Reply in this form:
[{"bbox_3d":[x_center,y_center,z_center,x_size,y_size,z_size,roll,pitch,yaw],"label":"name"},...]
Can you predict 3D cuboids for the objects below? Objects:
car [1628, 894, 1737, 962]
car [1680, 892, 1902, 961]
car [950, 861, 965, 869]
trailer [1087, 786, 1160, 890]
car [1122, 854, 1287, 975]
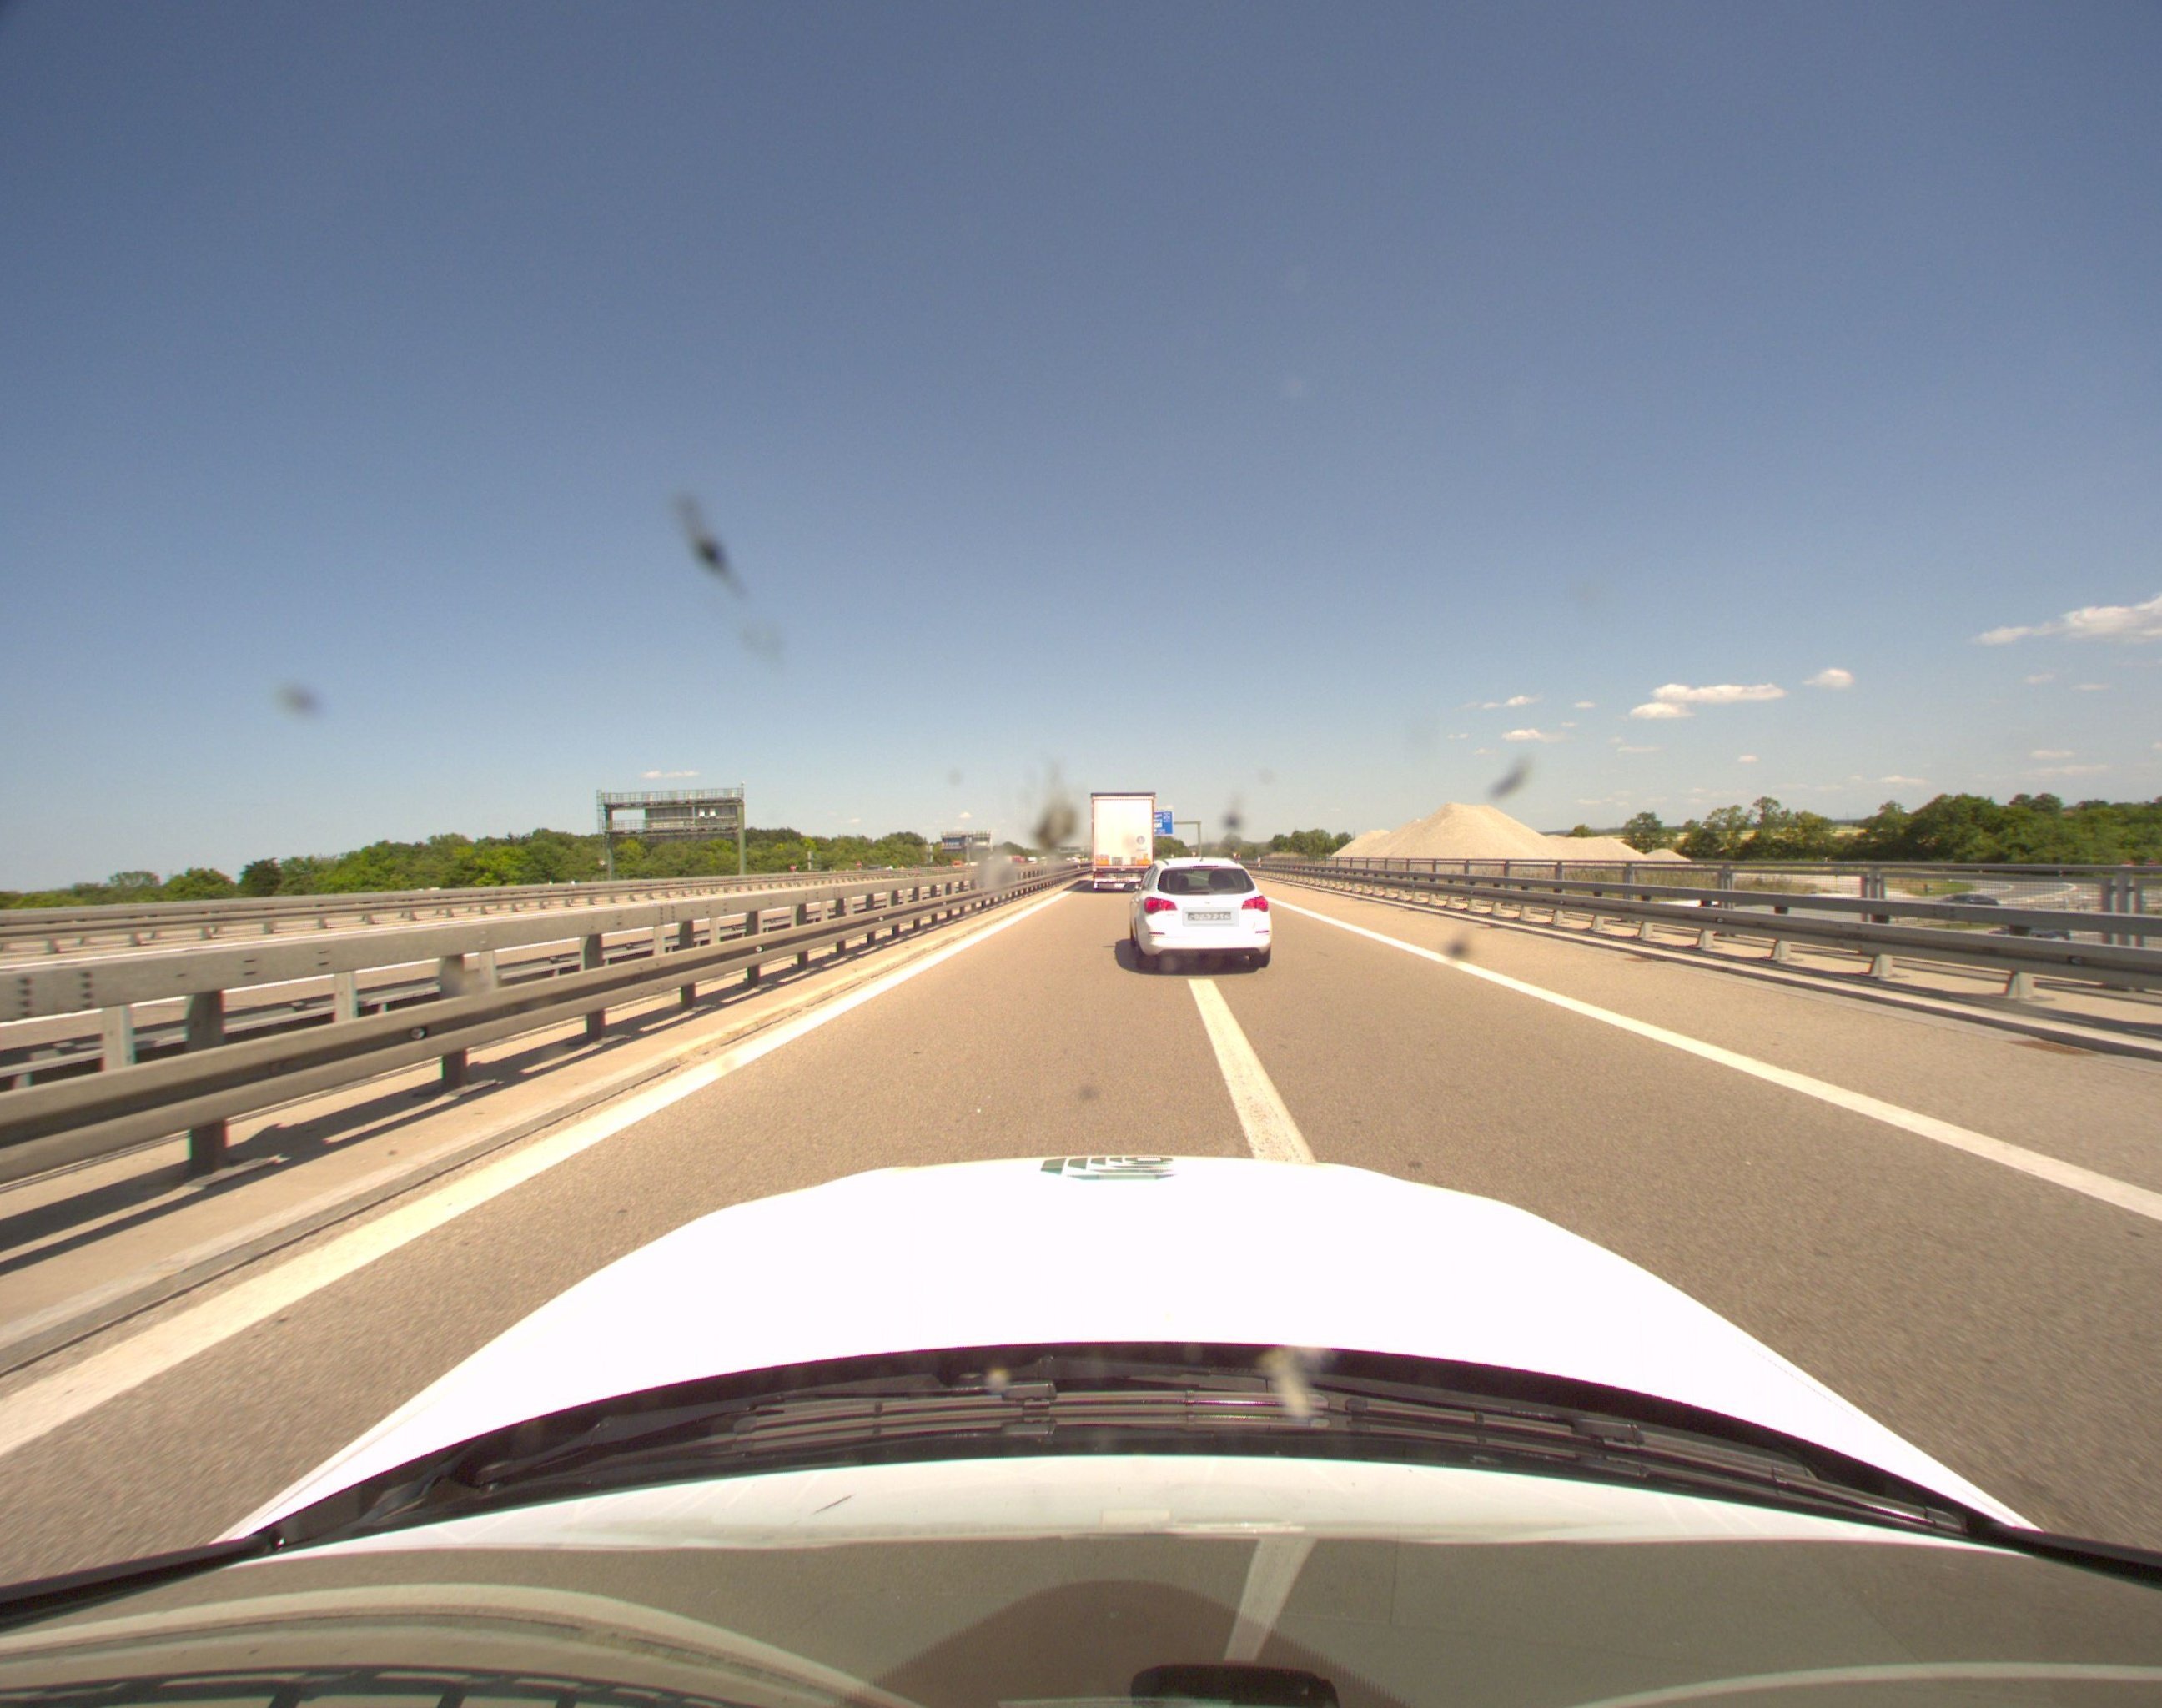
[{"bbox_3d":[37.307,4.515,50.599,5.136,3.964,2.478,0,-1,-6],"label":"car"},{"bbox_3d":[44.778,4.493,51.445,12.953,3.964,2.478,0,-1,-6],"label":"car"},{"bbox_3d":[-25.144,2.311,165.536,1.829,1.517,5.303,-2,0,4],"label":"car"},{"bbox_3d":[2.128,-0.560,38.452,2.899,4.145,11.270,-1,-1,4],"label":"trailer"},{"bbox_3d":[1.622,0.742,12.155,1.848,1.443,4.372,-1,0,1],"label":"car"}]
